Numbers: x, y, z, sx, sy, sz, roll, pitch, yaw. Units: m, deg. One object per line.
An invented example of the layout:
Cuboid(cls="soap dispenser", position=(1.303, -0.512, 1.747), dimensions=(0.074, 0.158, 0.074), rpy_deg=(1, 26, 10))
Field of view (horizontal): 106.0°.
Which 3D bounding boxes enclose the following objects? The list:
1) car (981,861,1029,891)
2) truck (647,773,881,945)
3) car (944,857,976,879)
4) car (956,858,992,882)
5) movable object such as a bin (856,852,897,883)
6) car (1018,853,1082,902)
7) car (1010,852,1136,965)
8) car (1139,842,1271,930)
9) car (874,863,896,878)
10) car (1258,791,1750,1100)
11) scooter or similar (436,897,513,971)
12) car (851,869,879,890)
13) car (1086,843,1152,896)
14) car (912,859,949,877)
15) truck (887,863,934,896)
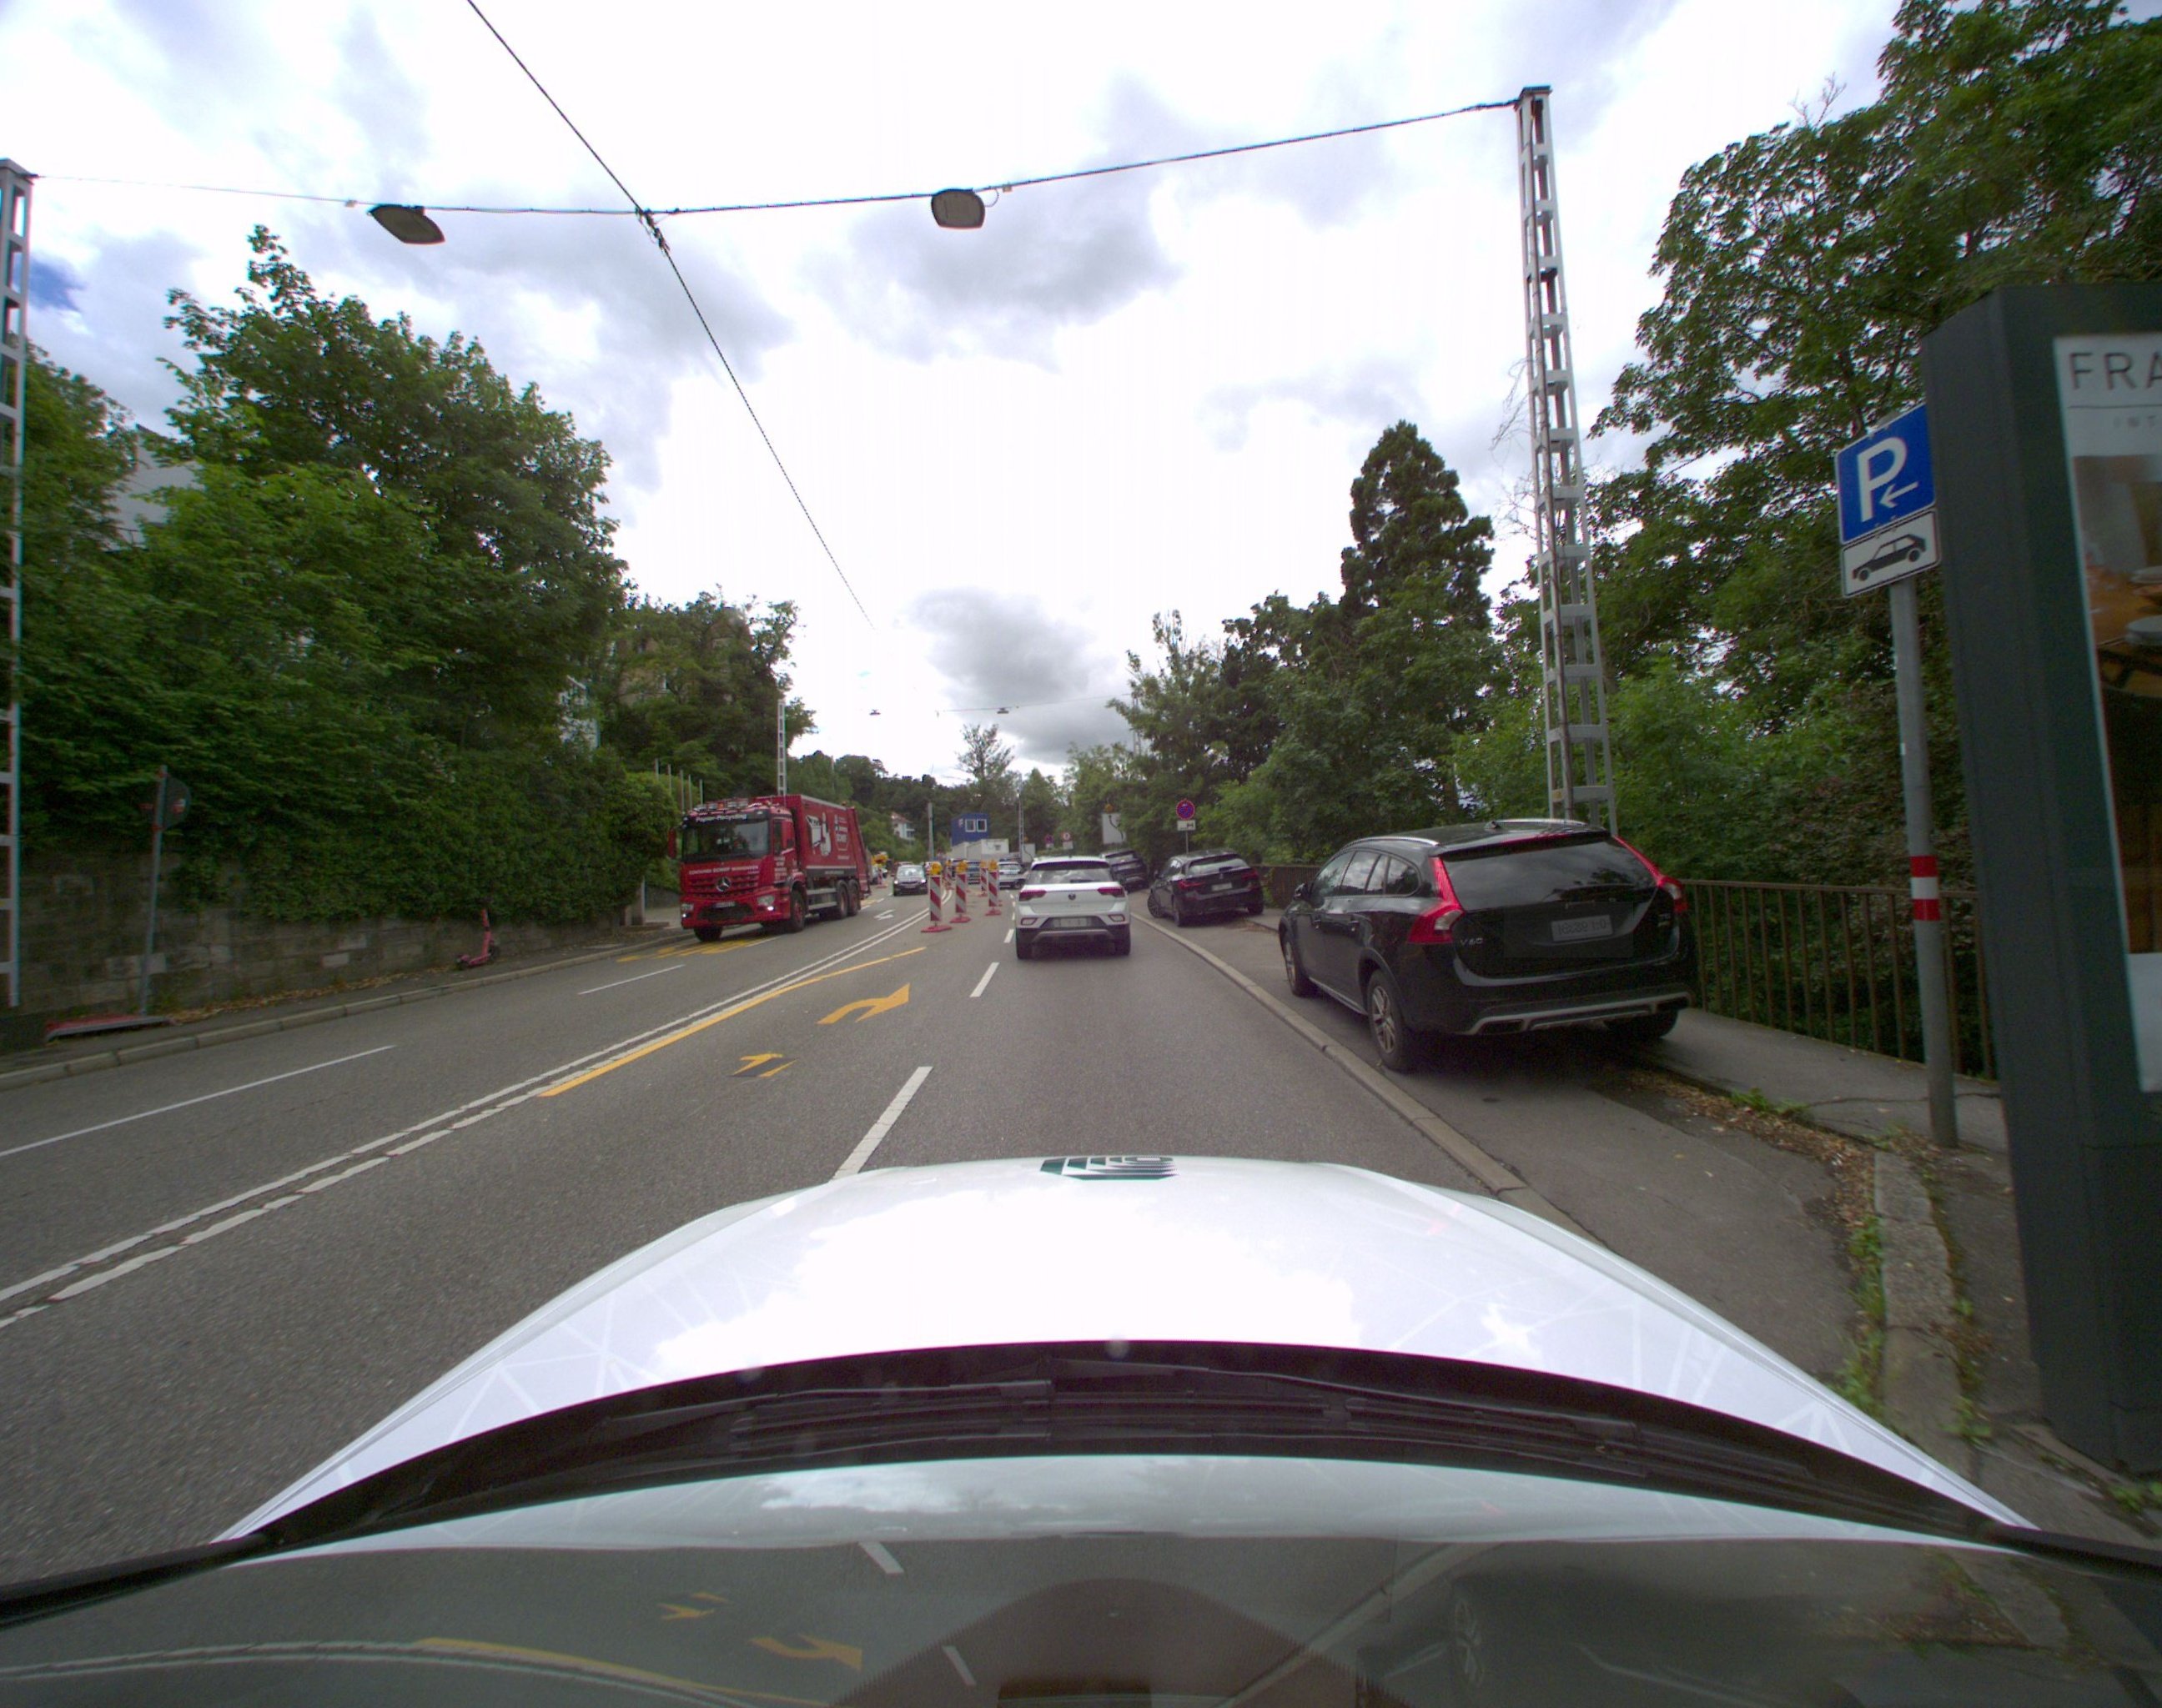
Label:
Cuboid(cls="car", position=(-4.130, 1.141, 43.885), dimensions=(1.763, 1.471, 3.772), rpy_deg=(-2, 0, -18))
Cuboid(cls="truck", position=(-8.426, 0.109, 23.516), dimensions=(2.938, 3.697, 9.910), rpy_deg=(-5, 0, -2))
Cuboid(cls="car", position=(-9.562, 1.097, 64.073), dimensions=(1.997, 1.556, 4.129), rpy_deg=(-3, 0, -15))
Cuboid(cls="car", position=(-7.151, 1.073, 54.103), dimensions=(1.996, 1.414, 4.132), rpy_deg=(-4, -1, -13))
Cuboid(cls="movable object such as a bin", position=(-26.750, 1.847, 106.162), dimensions=(3.550, 3.699, 7.430), rpy_deg=(-3, 0, -26))
Cuboid(cls="car", position=(-1.200, 0.812, 29.524), dimensions=(1.758, 1.609, 3.781), rpy_deg=(-2, 0, -11))
Cuboid(cls="car", position=(-0.175, 0.795, 13.642), dimensions=(1.753, 1.555, 3.792), rpy_deg=(-2, 0, -2))
Cuboid(cls="car", position=(2.565, 0.620, 17.913), dimensions=(1.805, 1.463, 4.187), rpy_deg=(-8, 0, -5))
Cuboid(cls="car", position=(-20.718, 1.727, 85.915), dimensions=(1.901, 1.494, 3.975), rpy_deg=(-3, 0, -19))
Cuboid(cls="car", position=(2.835, 0.508, 6.743), dimensions=(1.759, 1.521, 4.395), rpy_deg=(-7, 0, 2))
Cuboid(cls="scooter or similar", position=(-11.007, 1.429, 14.823), dimensions=(0.537, 1.205, 1.277), rpy_deg=(0, 0, -7))
Cuboid(cls="car", position=(-16.016, 1.872, 60.375), dimensions=(1.899, 1.382, 3.979), rpy_deg=(-4, 0, -15))
Cuboid(cls="car", position=(1.421, 0.586, 32.237), dimensions=(1.847, 1.656, 4.135), rpy_deg=(-11, 1, -5))
Cuboid(cls="car", position=(-14.285, 1.359, 77.053), dimensions=(2.007, 1.450, 4.108), rpy_deg=(-3, -1, -32))
Cuboid(cls="truck", position=(-8.614, 1.247, 41.393), dimensions=(1.659, 1.443, 4.021), rpy_deg=(-3, 0, -4))
